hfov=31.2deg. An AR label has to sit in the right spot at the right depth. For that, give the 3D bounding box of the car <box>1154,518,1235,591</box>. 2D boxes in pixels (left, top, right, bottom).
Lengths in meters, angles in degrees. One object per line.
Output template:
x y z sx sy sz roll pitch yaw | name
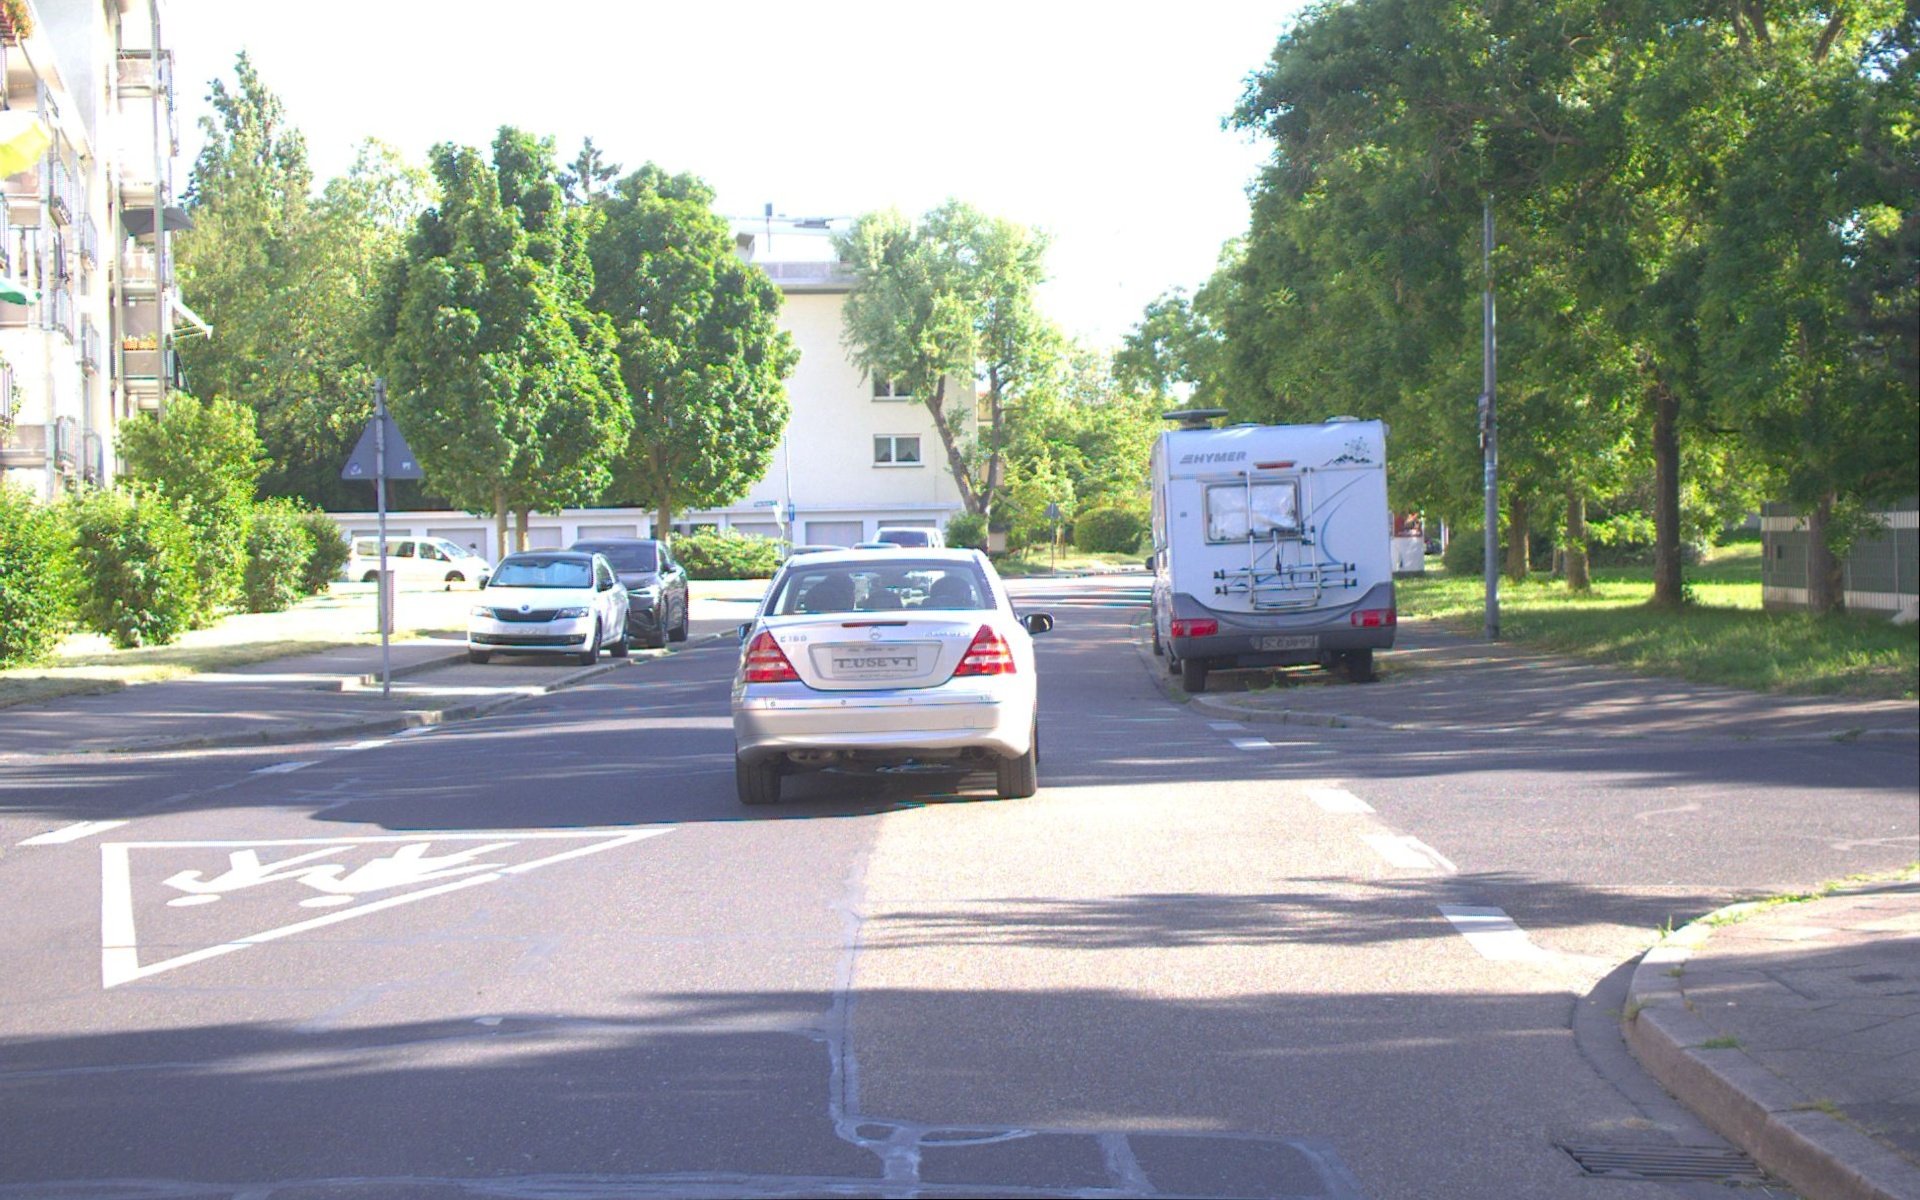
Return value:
5.431 -1.081 79.796 1.720 1.519 4.428 -4 1 3 | car

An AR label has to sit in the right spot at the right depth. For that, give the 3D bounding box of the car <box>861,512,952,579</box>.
-1.531 -1.589 100.340 2.015 1.879 5.190 1 1 6 | car

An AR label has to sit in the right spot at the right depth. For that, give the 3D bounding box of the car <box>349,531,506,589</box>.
-19.227 -1.441 124.239 5.108 1.944 2.236 -1 1 13 | car

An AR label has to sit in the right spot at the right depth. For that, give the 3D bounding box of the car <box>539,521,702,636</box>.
-5.116 -0.368 52.375 1.914 1.598 4.812 1 2 1 | car

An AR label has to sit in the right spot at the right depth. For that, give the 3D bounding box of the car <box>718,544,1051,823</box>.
-0.357 0.419 20.048 1.733 1.429 3.438 -1 1 2 | car

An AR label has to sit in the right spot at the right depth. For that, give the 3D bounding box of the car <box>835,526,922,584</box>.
-2.194 -1.236 93.887 1.833 1.513 4.221 1 1 6 | car

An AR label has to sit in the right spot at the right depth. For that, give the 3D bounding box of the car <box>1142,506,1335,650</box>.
3.473 -0.322 43.641 1.993 1.635 4.537 -3 1 0 | car

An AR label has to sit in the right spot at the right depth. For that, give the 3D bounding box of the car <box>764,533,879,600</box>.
-3.219 -0.814 81.106 2.035 1.487 5.255 -1 1 5 | car

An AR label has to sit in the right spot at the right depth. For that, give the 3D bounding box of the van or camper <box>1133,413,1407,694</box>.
3.194 -0.530 36.846 2.352 2.587 6.426 -4 1 2 | van or camper

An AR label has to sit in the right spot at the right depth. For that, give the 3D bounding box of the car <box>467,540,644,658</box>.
-5.338 -0.050 45.800 1.646 1.461 4.330 0 1 3 | car

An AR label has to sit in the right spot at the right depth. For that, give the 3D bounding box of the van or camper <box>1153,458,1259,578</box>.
6.220 -2.086 86.845 2.497 2.835 6.851 -2 1 4 | van or camper
